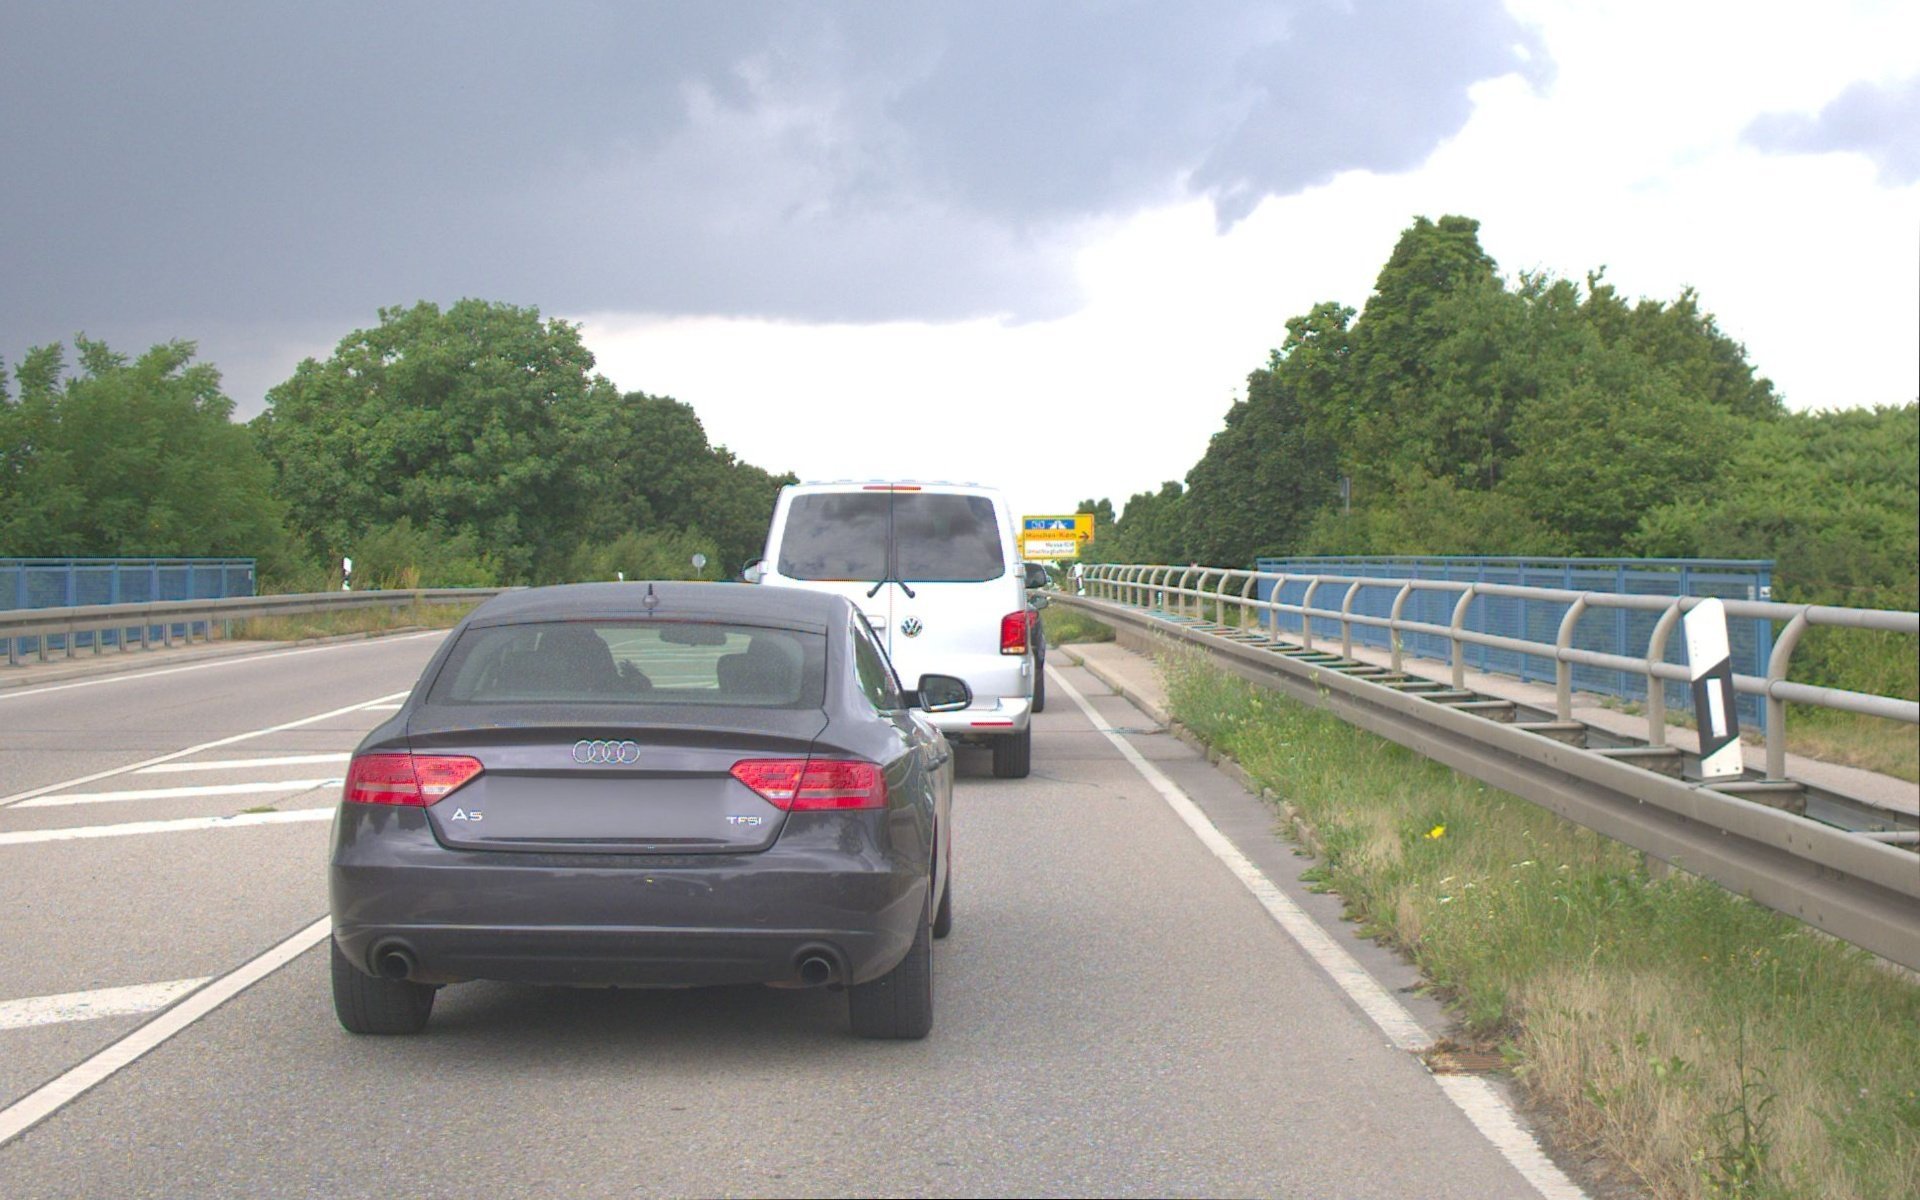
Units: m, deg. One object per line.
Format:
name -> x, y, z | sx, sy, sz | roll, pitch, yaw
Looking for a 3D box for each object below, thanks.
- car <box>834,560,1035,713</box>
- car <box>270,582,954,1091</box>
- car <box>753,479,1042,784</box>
car -> -0.202, 0.309, 33.192 | 1.821, 1.376, 4.072 | 0, 1, 1
car -> -0.964, 0.644, 11.522 | 1.821, 1.376, 4.072 | 0, 1, 1
car -> -0.412, 0.179, 23.803 | 1.828, 1.929, 4.000 | 0, 1, 0
